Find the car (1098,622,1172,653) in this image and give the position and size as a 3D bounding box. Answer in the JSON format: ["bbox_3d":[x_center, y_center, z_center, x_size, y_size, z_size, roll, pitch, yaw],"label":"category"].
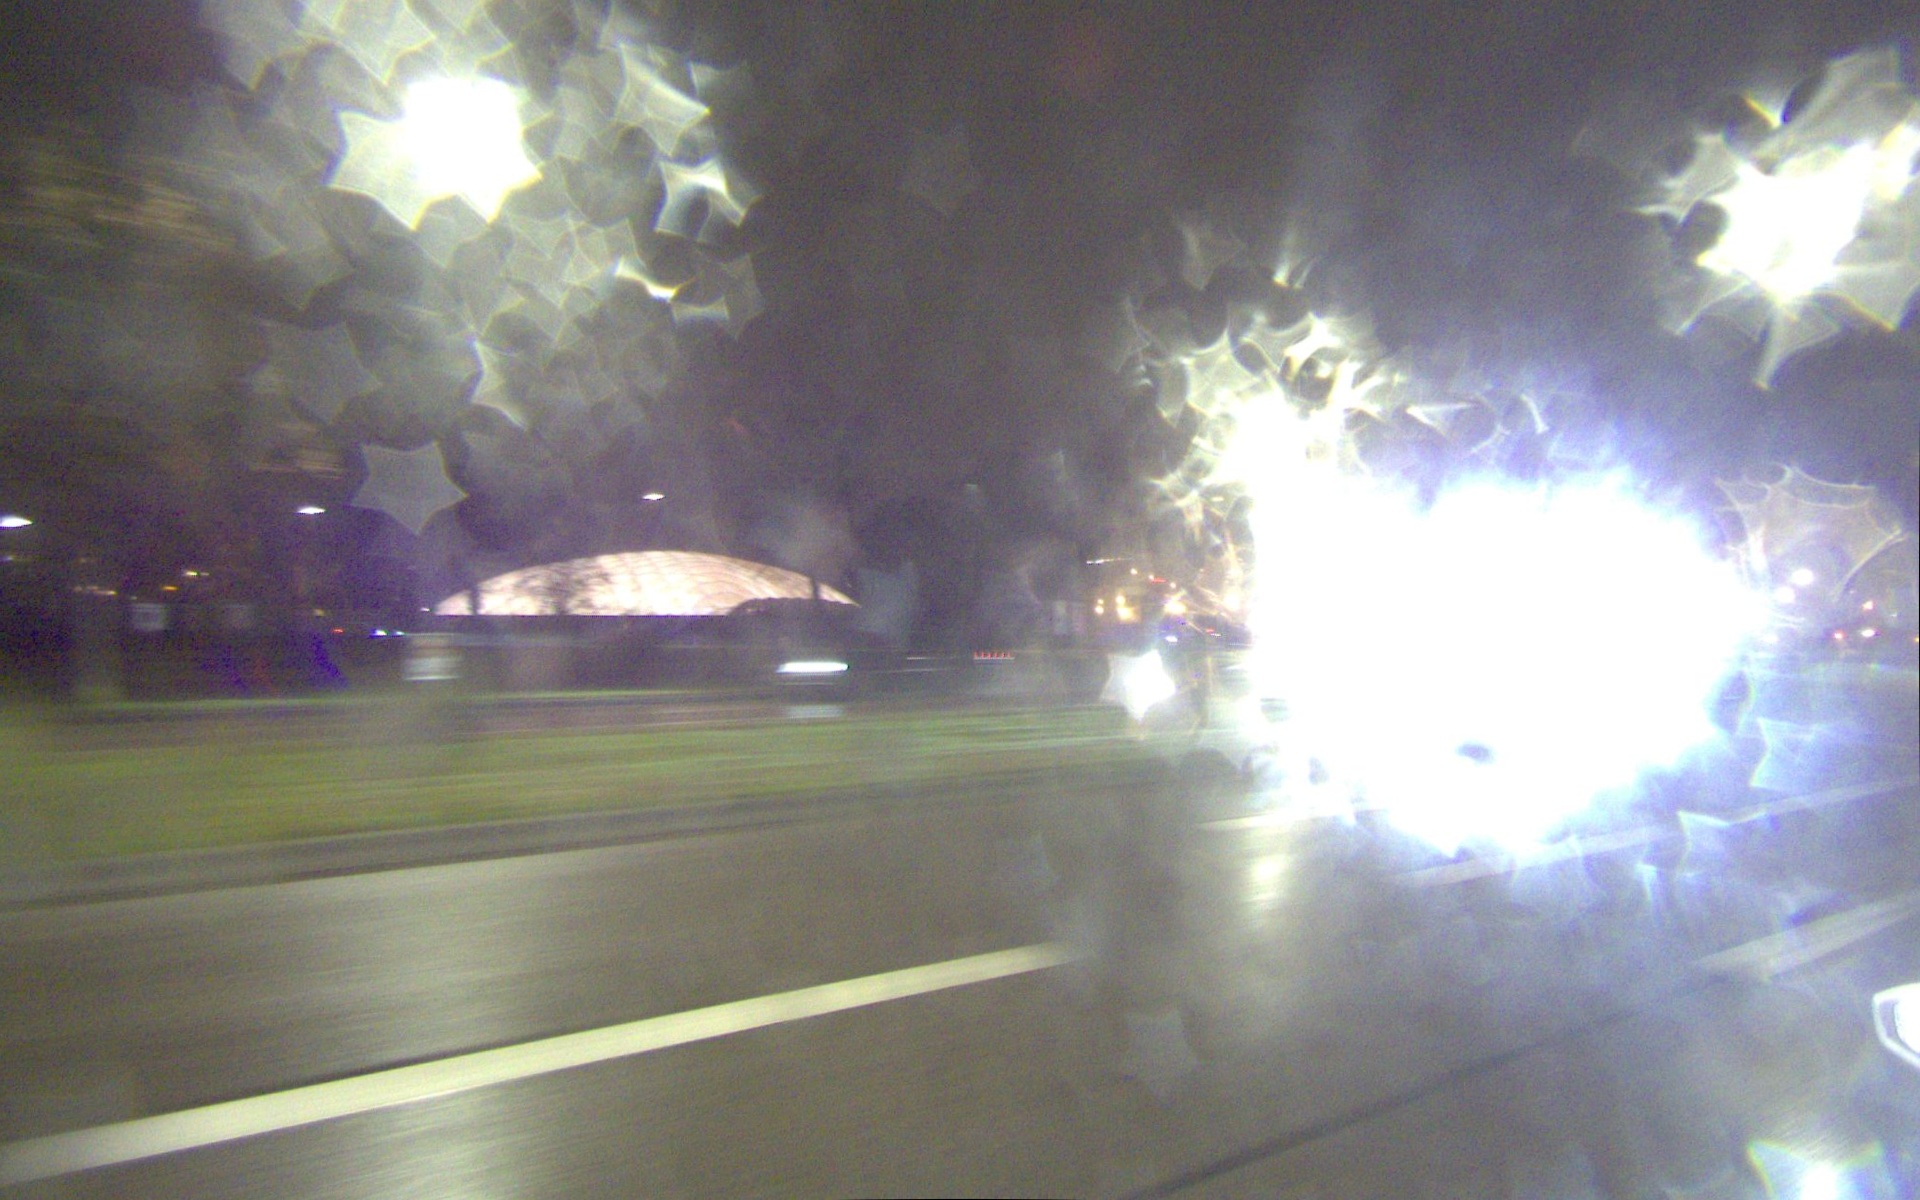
[{"bbox_3d":[9.658,2.038,55.357,3.919,1.595,1.761,1,0,14],"label":"car"}]

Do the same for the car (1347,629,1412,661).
[{"bbox_3d":[22.369,2.367,53.480,1.970,1.561,4.395,1,0,40],"label":"car"}]

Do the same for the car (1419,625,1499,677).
[{"bbox_3d":[18.998,1.865,38.136,2.036,1.738,5.025,1,0,35],"label":"car"}]

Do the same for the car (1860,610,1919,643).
[{"bbox_3d":[63.432,1.784,65.940,6.210,2.117,2.507,1,0,36],"label":"car"}]

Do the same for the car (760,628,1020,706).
[{"bbox_3d":[-1.411,1.346,21.497,5.294,1.421,1.981,1,0,-34],"label":"car"}]

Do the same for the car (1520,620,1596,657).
[{"bbox_3d":[30.961,1.946,51.924,5.094,1.755,2.037,1,0,-43],"label":"car"}]
